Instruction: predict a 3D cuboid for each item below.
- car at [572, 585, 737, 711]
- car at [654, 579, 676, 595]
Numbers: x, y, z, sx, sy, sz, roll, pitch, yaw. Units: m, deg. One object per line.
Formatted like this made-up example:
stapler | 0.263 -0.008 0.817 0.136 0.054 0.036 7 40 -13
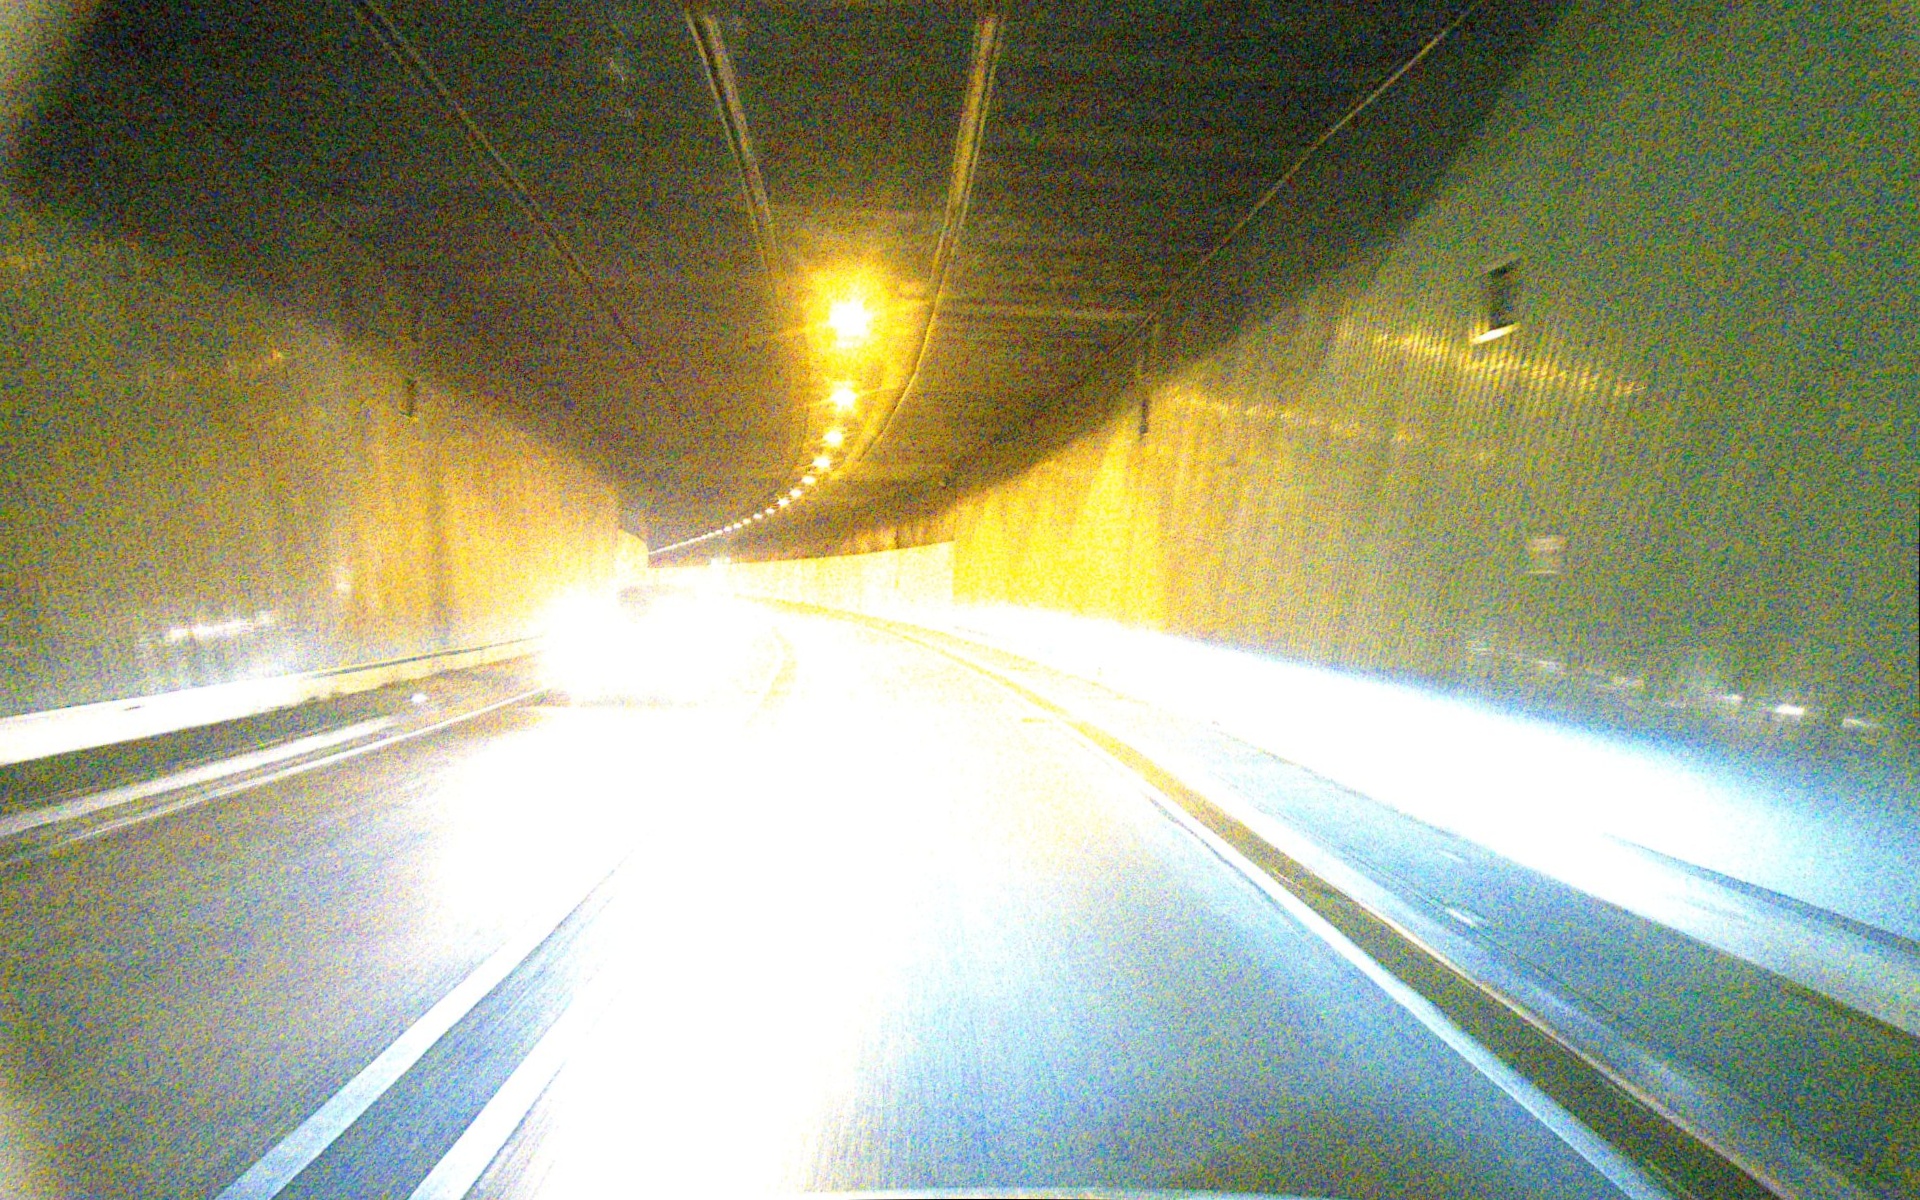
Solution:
car | -3.975 0.563 22.124 1.682 1.468 4.389 1 0 -5
car | -35.929 -1.576 201.464 1.938 1.973 4.585 1 0 -20
